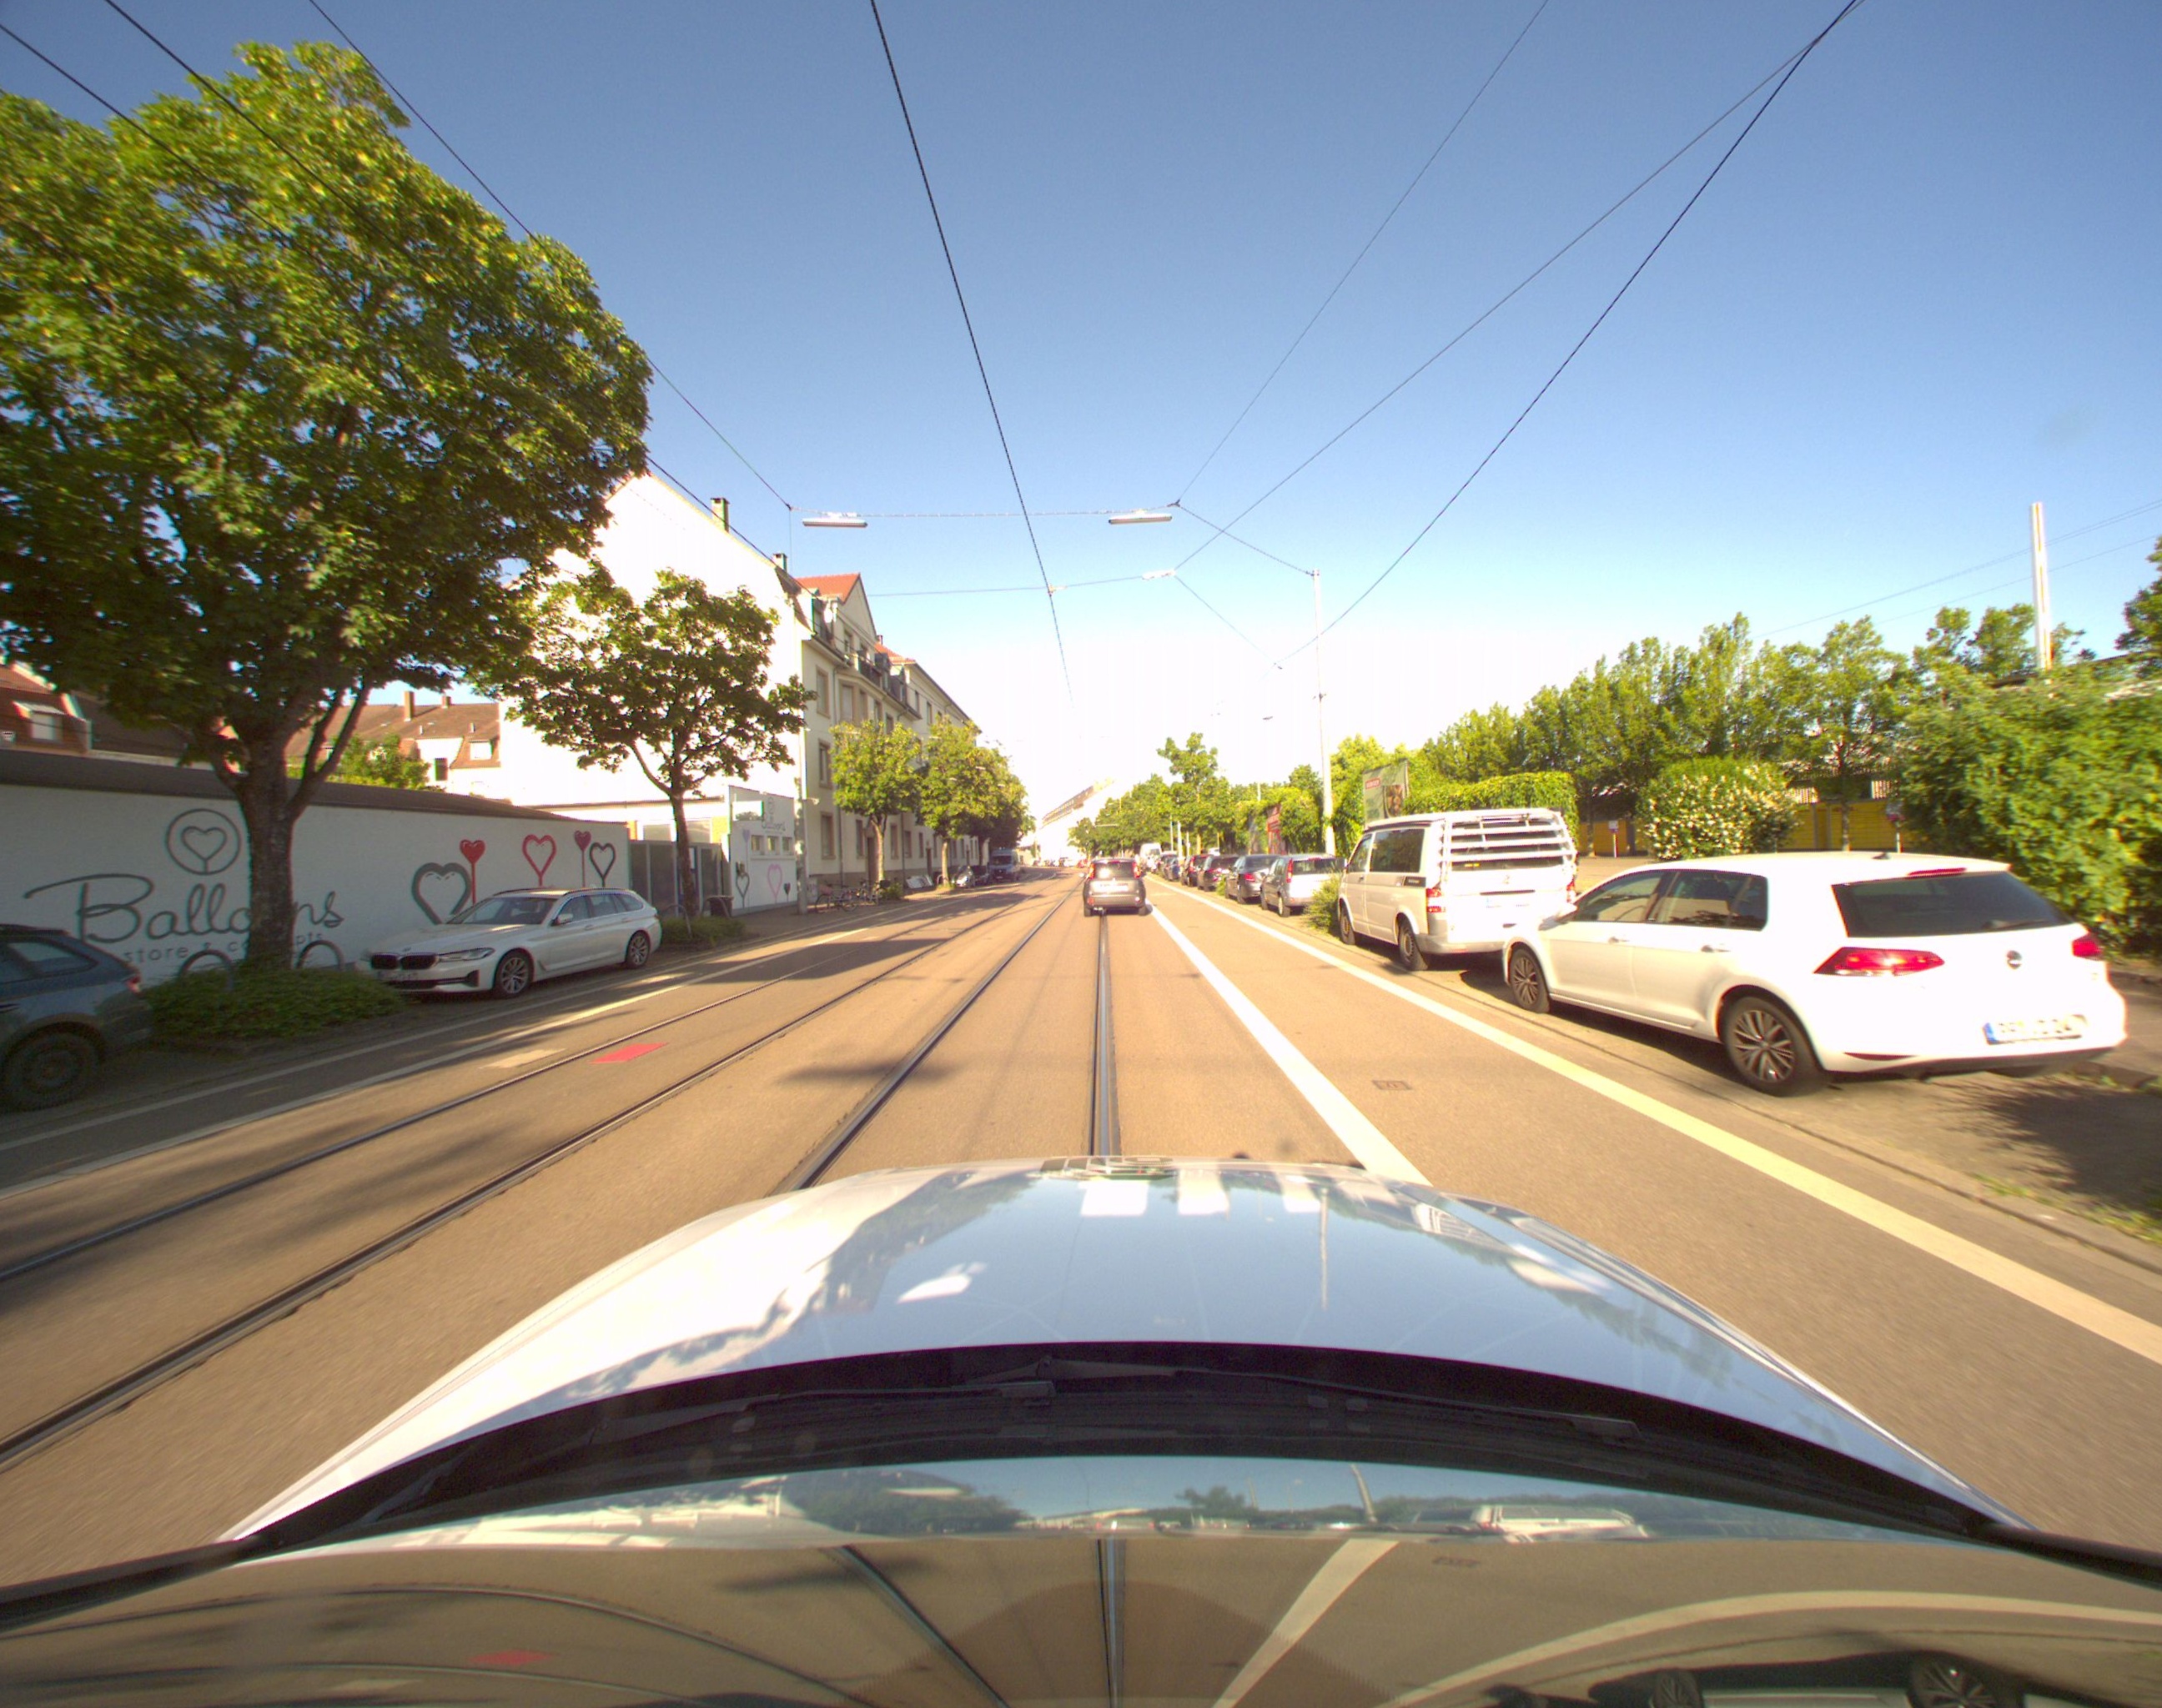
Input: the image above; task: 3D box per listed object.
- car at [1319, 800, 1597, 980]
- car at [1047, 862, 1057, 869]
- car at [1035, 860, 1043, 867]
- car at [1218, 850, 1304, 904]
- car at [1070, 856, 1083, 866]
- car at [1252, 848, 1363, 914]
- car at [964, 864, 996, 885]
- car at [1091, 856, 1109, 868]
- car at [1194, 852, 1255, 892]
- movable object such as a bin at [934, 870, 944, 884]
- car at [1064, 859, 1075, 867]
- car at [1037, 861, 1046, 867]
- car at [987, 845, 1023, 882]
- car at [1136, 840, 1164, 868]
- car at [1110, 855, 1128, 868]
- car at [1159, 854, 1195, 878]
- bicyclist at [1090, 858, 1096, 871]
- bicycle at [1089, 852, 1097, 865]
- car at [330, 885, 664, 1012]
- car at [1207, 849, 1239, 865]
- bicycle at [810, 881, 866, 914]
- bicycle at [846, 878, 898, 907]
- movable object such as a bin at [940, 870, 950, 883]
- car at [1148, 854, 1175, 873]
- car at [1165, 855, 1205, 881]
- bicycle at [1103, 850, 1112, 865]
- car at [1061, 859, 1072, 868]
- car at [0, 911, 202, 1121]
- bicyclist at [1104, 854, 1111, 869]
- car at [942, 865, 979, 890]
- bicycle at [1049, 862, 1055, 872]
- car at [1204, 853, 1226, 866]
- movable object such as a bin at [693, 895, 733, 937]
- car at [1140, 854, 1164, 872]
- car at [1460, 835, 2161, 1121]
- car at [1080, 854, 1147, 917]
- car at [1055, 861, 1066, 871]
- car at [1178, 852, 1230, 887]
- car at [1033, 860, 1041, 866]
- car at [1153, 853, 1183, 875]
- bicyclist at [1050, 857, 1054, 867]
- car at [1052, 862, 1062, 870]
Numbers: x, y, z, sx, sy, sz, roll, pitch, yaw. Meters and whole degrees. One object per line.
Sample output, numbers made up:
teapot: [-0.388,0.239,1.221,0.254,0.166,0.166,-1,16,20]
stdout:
car: [5.109,0.432,12.016,1.846,1.991,5.246,-3,-1,3]
car: [-6.429,2.616,180.263,1.583,1.405,3.365,-6,0,-9]
car: [-10.315,2.397,200.920,1.583,1.599,3.365,-1,-1,-9]
car: [5.477,0.672,25.296,1.817,1.484,4.604,-1,-1,2]
car: [-0.718,1.152,134.256,1.634,1.508,3.387,-5,0,-8]
car: [5.572,0.633,20.573,1.865,1.473,4.079,-1,-1,3]
car: [-7.208,1.422,58.405,1.645,1.425,4.191,-1,-1,2]
car: [2.747,1.211,119.080,1.690,1.530,3.985,-4,0,-11]
car: [5.860,0.701,33.743,1.817,1.452,4.644,-3,-1,2]
movable object such as a bin: [-10.003,1.616,57.428,0.594,0.934,0.568,-3,0,-1]
car: [-2.173,1.689,152.644,1.655,1.571,3.488,-1,-1,-9]
car: [-9.490,2.387,195.226,1.583,1.405,3.365,-1,-1,-9]
car: [-6.143,0.775,66.311,2.009,2.826,6.036,-1,-1,3]
car: [7.051,0.035,83.732,2.173,2.665,6.090,-5,-1,0]
car: [4.823,0.911,102.894,1.686,1.530,3.992,-4,0,-5]
car: [6.355,0.808,54.351,1.723,1.464,4.495,-1,-1,-1]
bicyclist: [1.626,1.394,110.167,0.699,1.759,0.755,-1,-1,-10]
bicycle: [1.606,0.584,110.155,0.675,1.747,2.150,-1,-1,-9]
car: [-8.855,1.325,13.004,1.858,1.490,4.662,-1,-1,1]
car: [21.100,0.407,120.896,4.272,2.013,1.771,-4,-1,-5]
bicycle: [-8.516,1.517,28.569,0.661,1.040,1.798,-2,-1,39]
bicycle: [-8.275,1.500,32.259,1.998,1.040,0.526,-1,-1,-44]
movable object such as a bin: [-9.987,1.639,59.826,0.594,0.934,0.568,-3,0,-1]
car: [6.631,0.764,67.823,1.723,1.512,4.249,-1,-1,-1]
car: [6.154,0.812,48.649,1.723,1.464,4.338,-1,-1,-1]
bicycle: [3.302,0.426,101.033,0.675,1.747,2.150,-1,-1,-9]
car: [-2.800,1.800,156.908,1.655,1.571,3.863,-1,-1,-9]
car: [-8.988,1.272,5.340,1.767,1.486,4.304,-1,-1,0]
bicyclist: [3.275,0.953,101.163,0.699,1.759,0.755,-1,-1,-10]
car: [-7.663,1.452,52.091,1.645,1.491,4.002,-1,-1,2]
bicycle: [-5.723,2.569,161.102,0.741,2.014,2.802,-1,-1,-9]
car: [11.005,0.458,67.089,1.304,1.033,3.056,-1,-1,0]
movable object such as a bin: [-9.074,1.510,20.099,0.579,0.960,0.702,3,-1,2]
car: [6.700,0.872,77.080,1.904,1.530,4.600,-3,-1,1]
car: [5.024,0.688,6.651,1.671,1.418,4.501,-4,-1,0]
car: [0.859,0.801,22.358,1.644,1.541,4.235,-1,0,1]
car: [-4.216,2.532,166.211,1.655,1.944,4.649,-1,-1,-9]
car: [5.878,0.722,39.401,1.819,1.492,3.813,-5,-1,0]
car: [-11.229,2.286,207.049,1.583,1.599,3.365,-1,-1,-9]
car: [6.712,0.782,63.036,1.723,1.604,4.340,-1,-1,-1]
bicyclist: [-5.740,1.620,161.259,0.715,2.014,0.829,-1,-1,-10]
car: [-5.142,2.551,172.796,1.655,1.500,3.120,-1,-1,-9]
